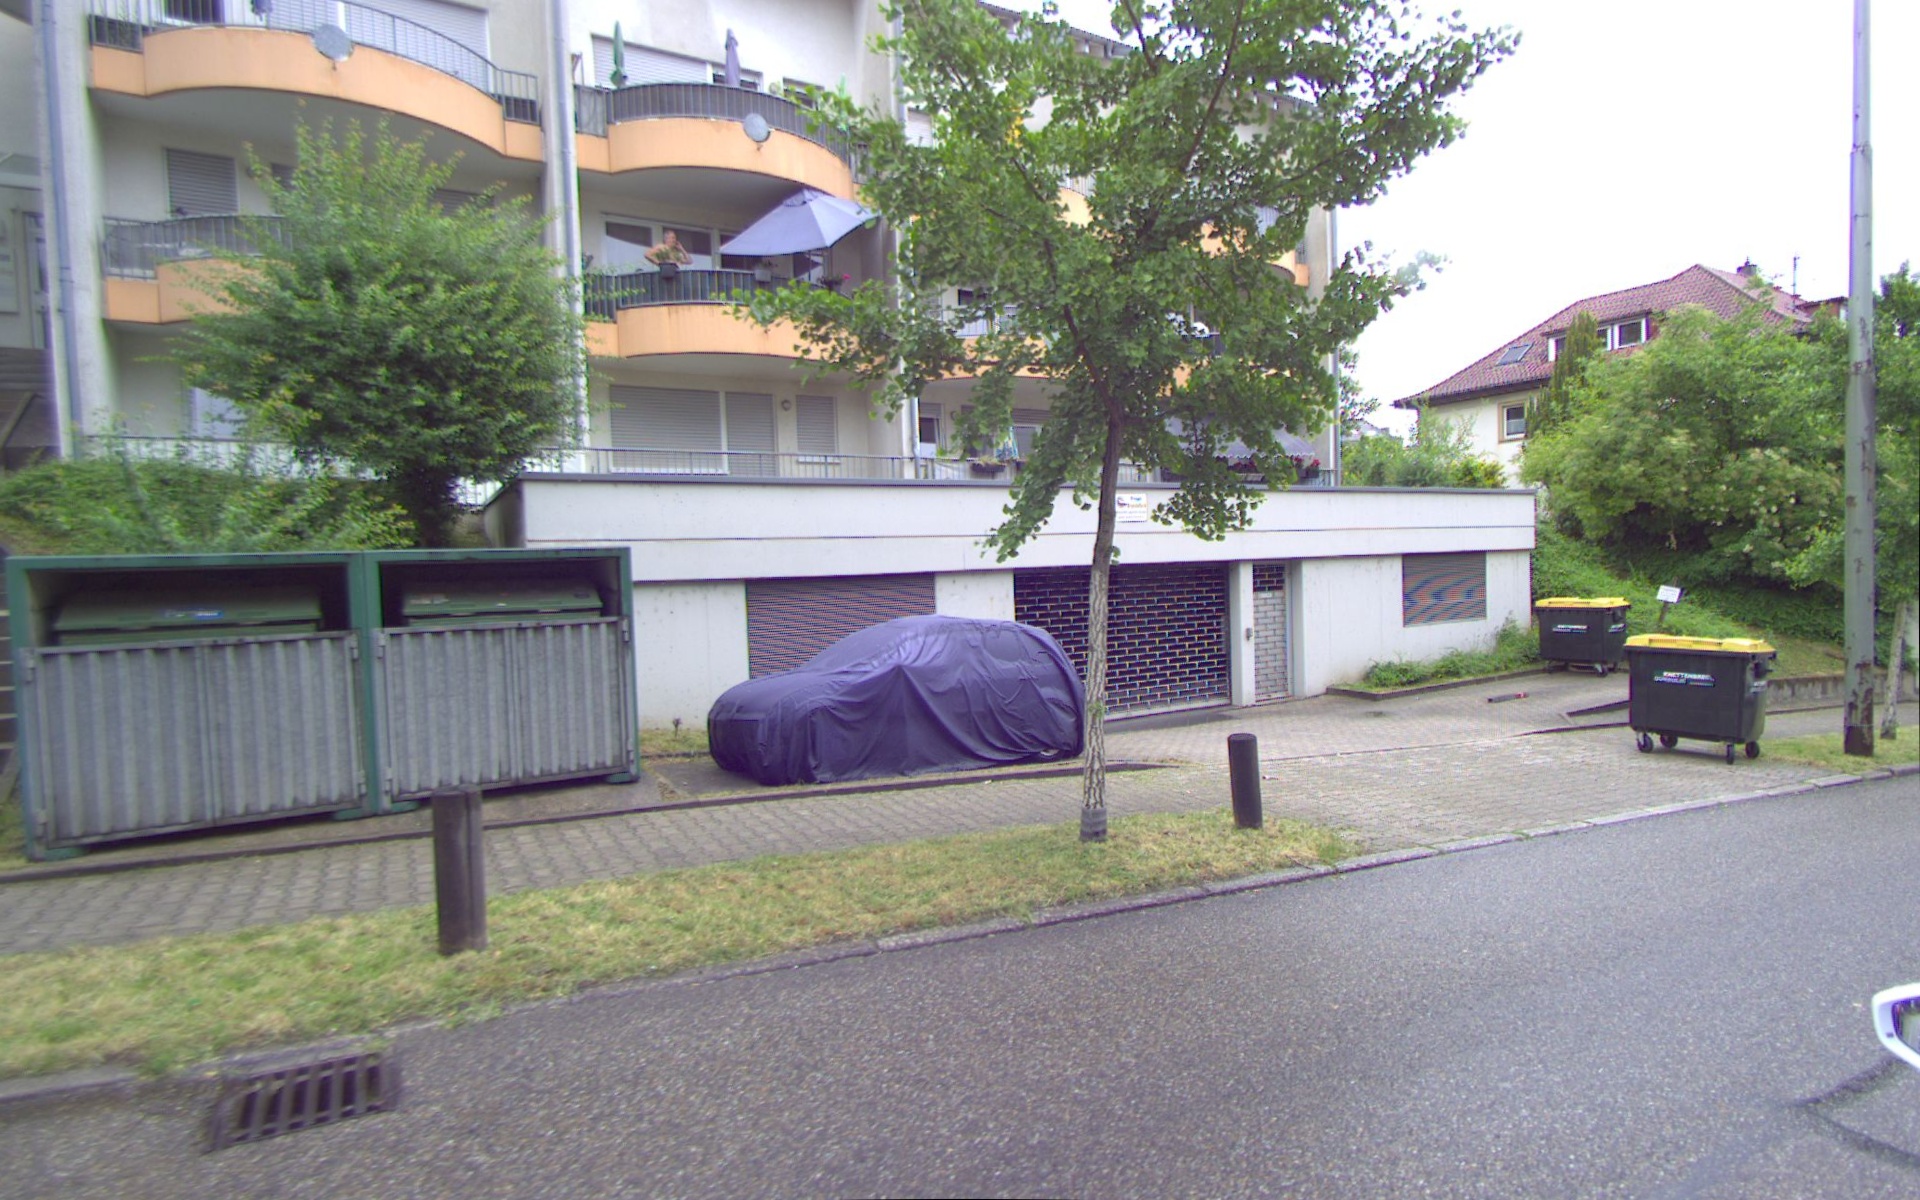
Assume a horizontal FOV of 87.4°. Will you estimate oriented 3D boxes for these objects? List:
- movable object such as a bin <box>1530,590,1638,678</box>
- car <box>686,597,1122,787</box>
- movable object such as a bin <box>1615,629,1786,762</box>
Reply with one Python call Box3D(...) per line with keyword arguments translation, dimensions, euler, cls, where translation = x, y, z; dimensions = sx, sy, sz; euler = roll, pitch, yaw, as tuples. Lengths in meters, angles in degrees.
Box3D(translation=(11.139, 0.567, 17.933), dimensions=(1.215, 1.383, 1.289), euler=(-7, 5, -36), cls="movable object such as a bin")
Box3D(translation=(-0.516, 0.853, 10.164), dimensions=(4.050, 1.581, 1.770), euler=(1, -4, -31), cls="car")
Box3D(translation=(8.390, 1.029, 11.404), dimensions=(1.145, 1.324, 1.288), euler=(0, 1, -38), cls="movable object such as a bin")
